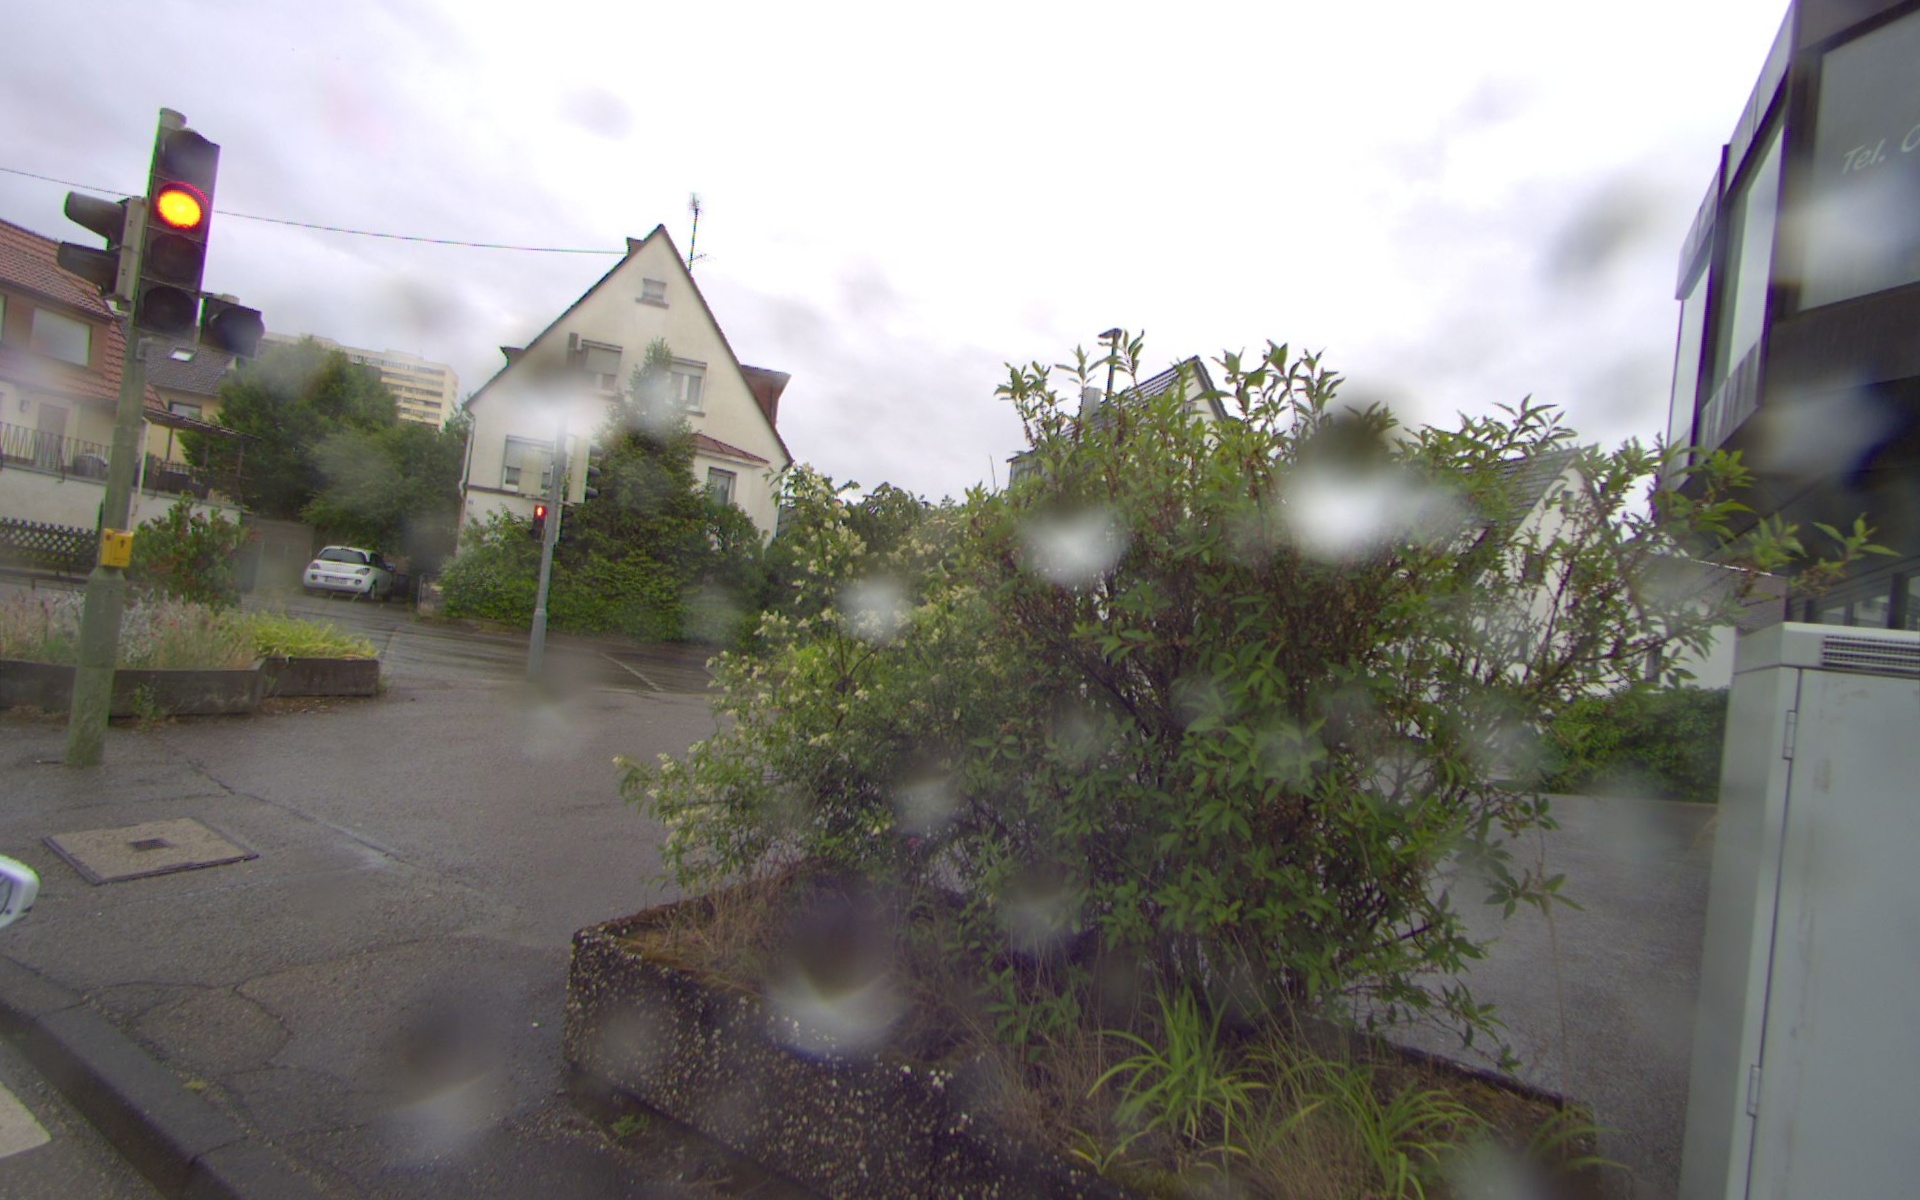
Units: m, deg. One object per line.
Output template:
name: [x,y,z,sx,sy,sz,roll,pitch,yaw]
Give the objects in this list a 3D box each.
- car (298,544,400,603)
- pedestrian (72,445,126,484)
car: [-17.742,-0.744,29.406,1.794,1.378,3.981,8,-2,-22]
pedestrian: [-24.258,-3.801,28.356,0.623,0.893,0.920,5,-2,13]
